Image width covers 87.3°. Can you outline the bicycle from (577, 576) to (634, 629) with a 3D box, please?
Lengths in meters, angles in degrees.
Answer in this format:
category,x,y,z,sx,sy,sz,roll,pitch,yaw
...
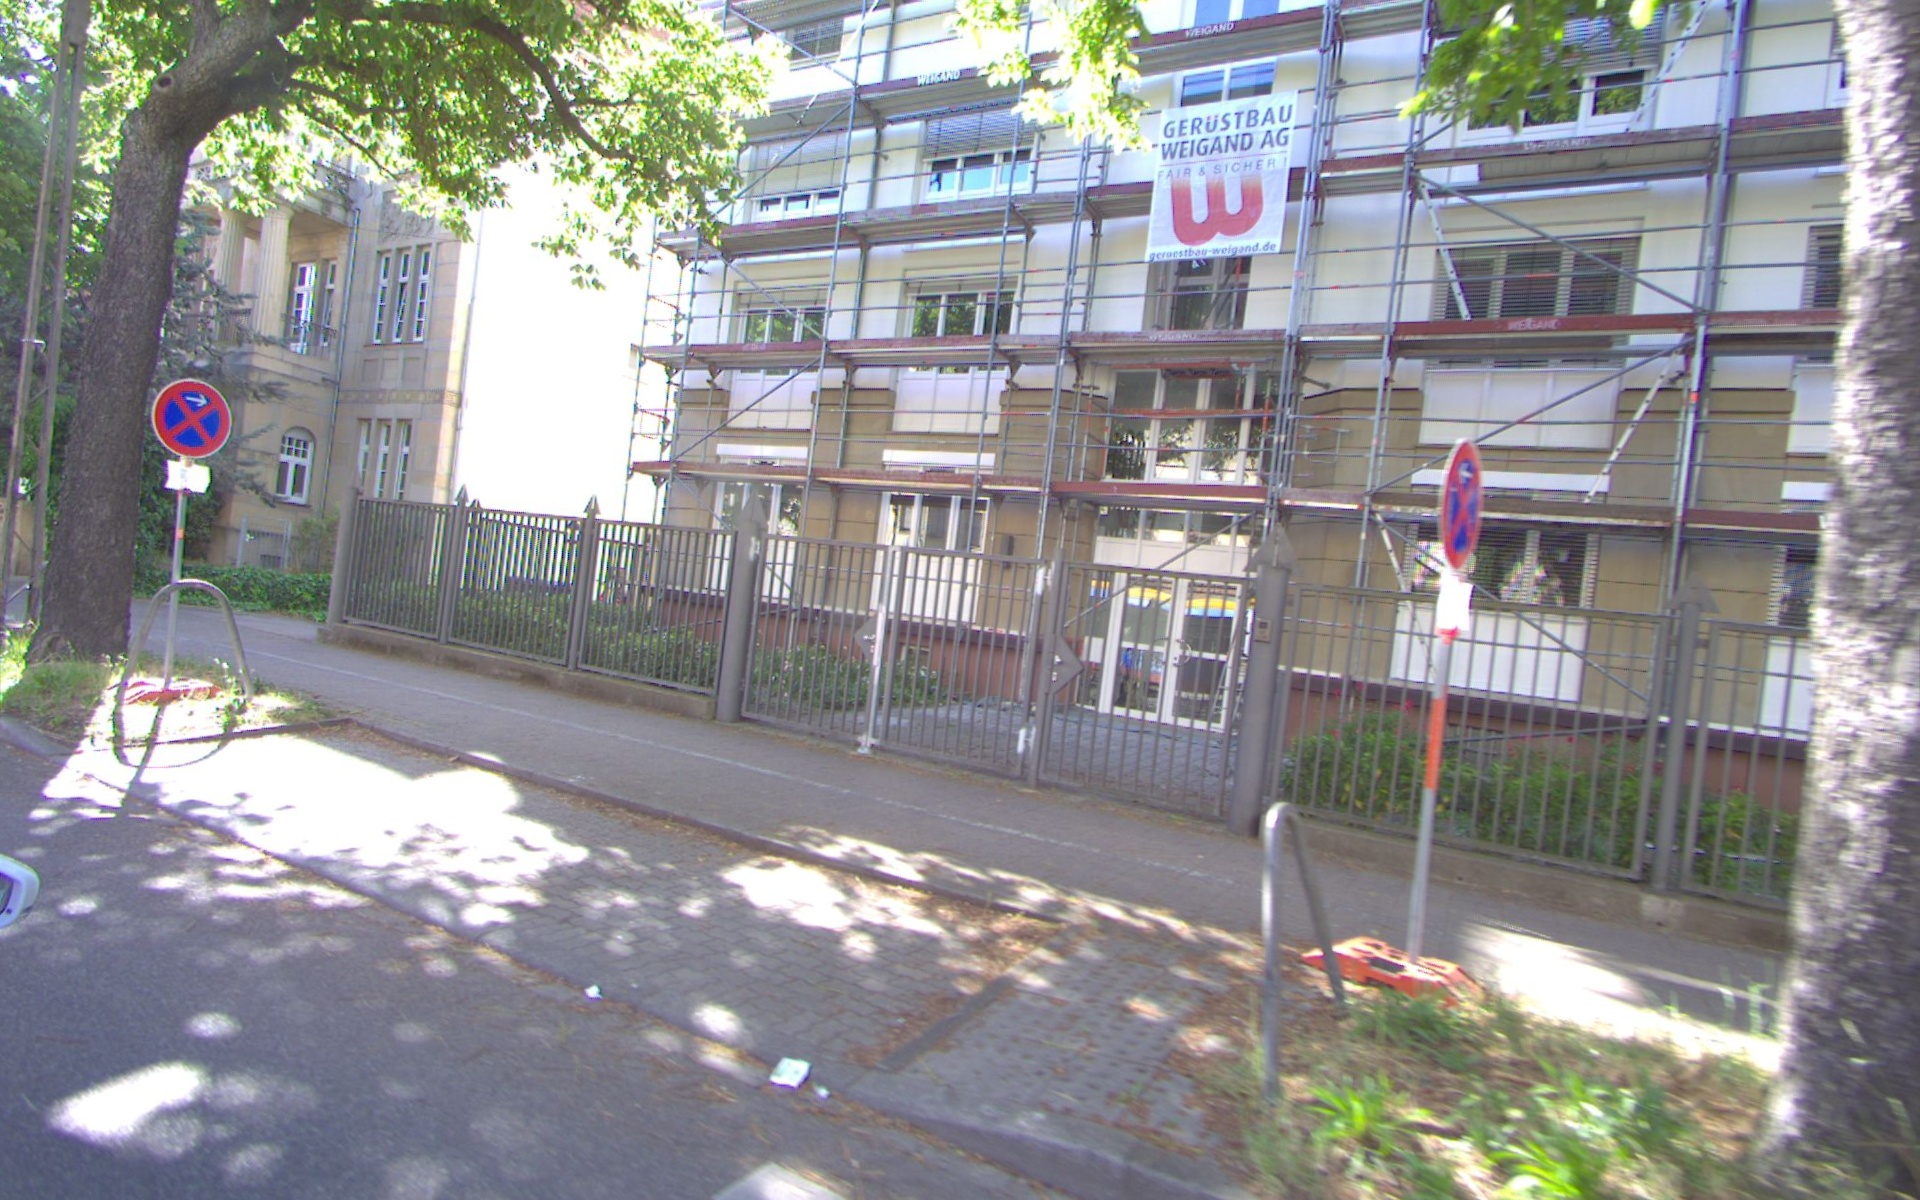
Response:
category,x,y,z,sx,sy,sz,roll,pitch,yaw
bicycle,-9.271,0.085,26.362,0.428,1.213,1.701,7,-2,14

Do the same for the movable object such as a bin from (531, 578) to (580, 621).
category,x,y,z,sx,sy,sz,roll,pitch,yaw
movable object such as a bin,-10.221,-0.004,25.408,0.637,0.966,0.836,6,-2,30
